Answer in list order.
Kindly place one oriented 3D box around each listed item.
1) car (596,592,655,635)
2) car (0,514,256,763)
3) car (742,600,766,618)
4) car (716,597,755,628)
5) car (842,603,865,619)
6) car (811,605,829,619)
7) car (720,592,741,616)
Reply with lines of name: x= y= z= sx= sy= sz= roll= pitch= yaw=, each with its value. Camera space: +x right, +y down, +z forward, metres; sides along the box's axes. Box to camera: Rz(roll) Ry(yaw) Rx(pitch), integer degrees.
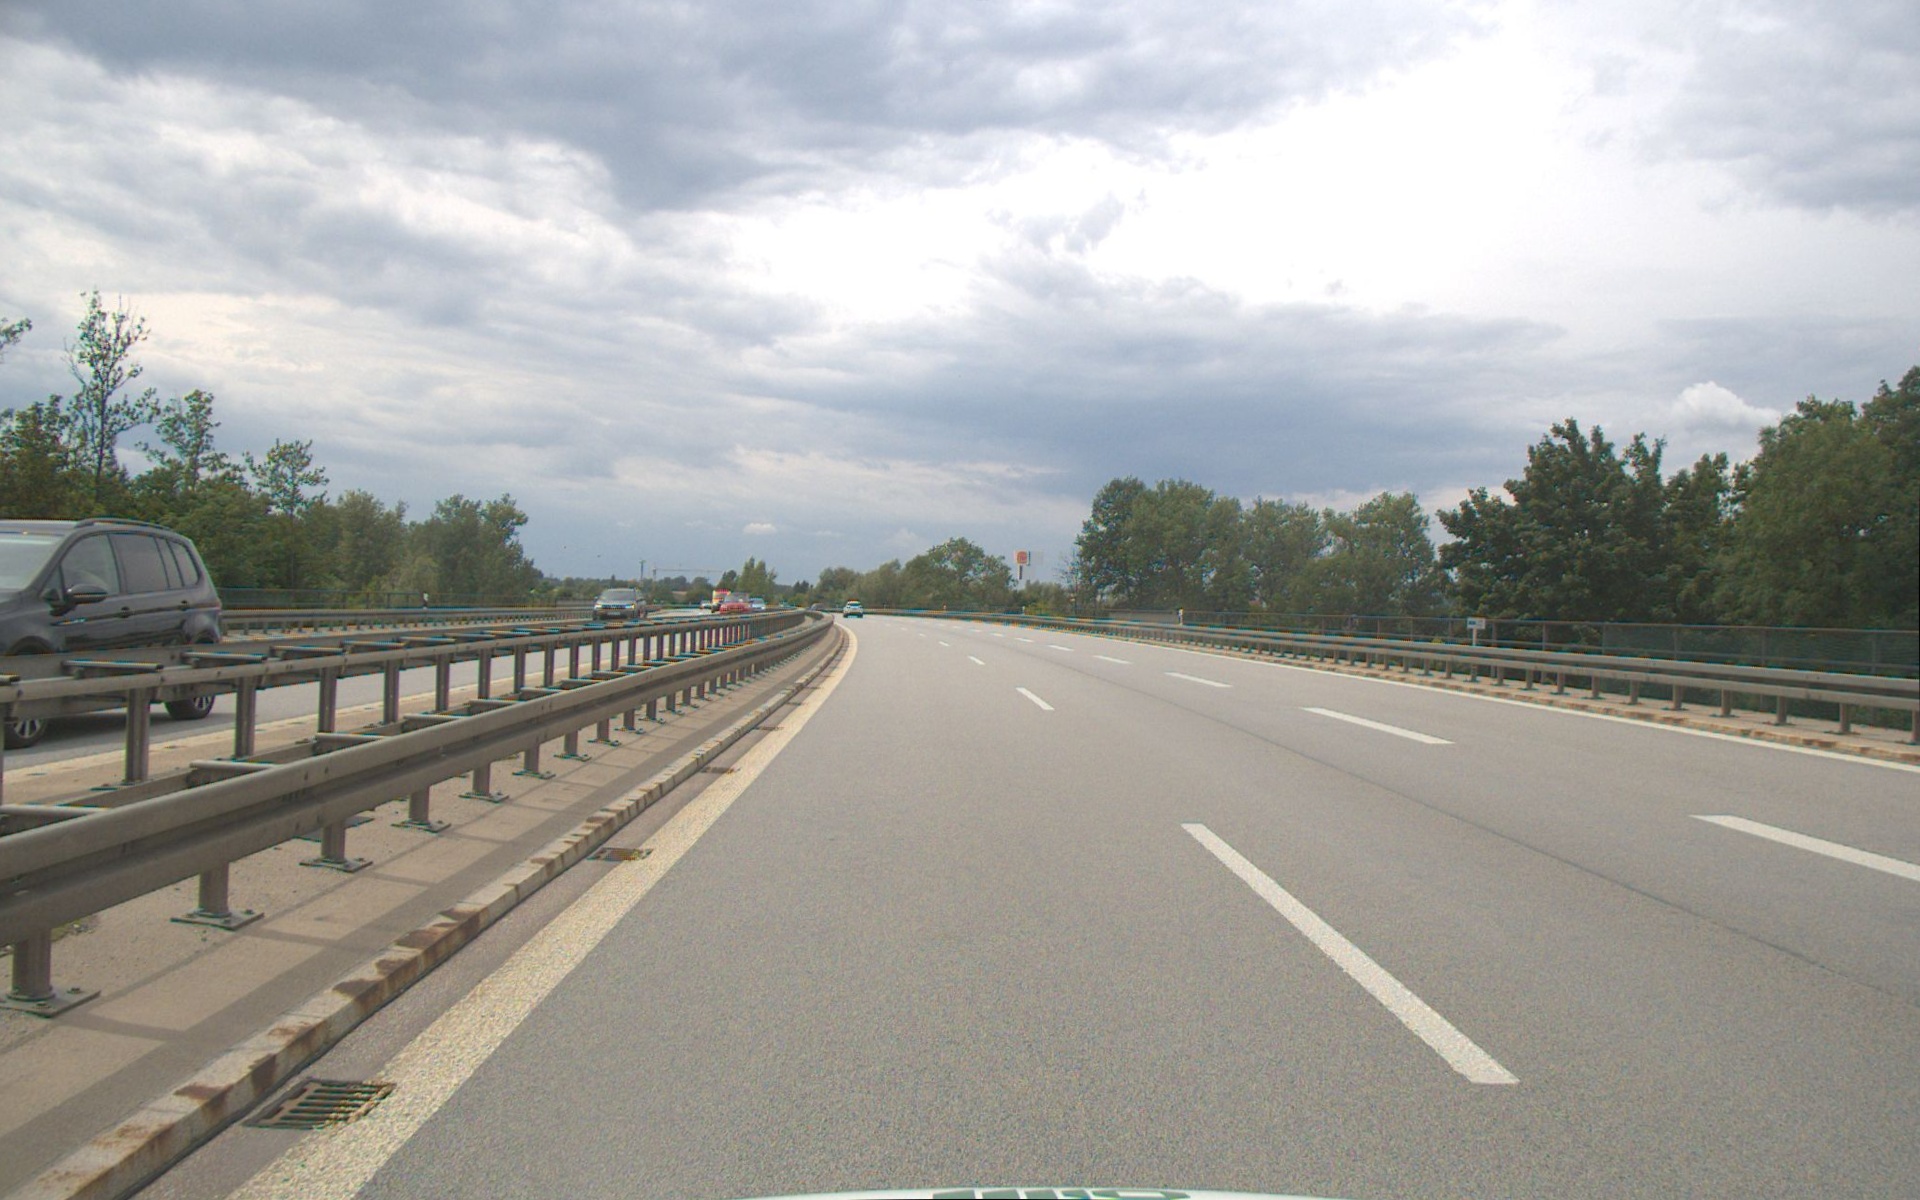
car: x=-13.504 y=0.526 z=66.942 sx=1.676 sy=1.669 sz=4.565 roll=1 pitch=0 yaw=-4
car: x=-7.093 y=0.240 z=12.702 sx=1.610 sy=1.633 sz=4.000 roll=1 pitch=0 yaw=0
car: x=-18.414 y=0.831 z=148.068 sx=1.695 sy=1.430 sz=4.246 roll=6 pitch=-1 yaw=-3
car: x=-12.528 y=0.701 z=92.592 sx=1.777 sy=1.669 sz=4.565 roll=1 pitch=0 yaw=-4
car: x=-11.324 y=1.138 z=175.888 sx=1.868 sy=1.669 sz=4.383 roll=1 pitch=-1 yaw=-11
car: x=-18.603 y=1.590 z=219.644 sx=1.858 sy=1.668 sz=4.610 roll=1 pitch=0 yaw=-11
car: x=-23.566 y=0.408 z=170.052 sx=1.955 sy=2.333 sz=6.389 roll=1 pitch=0 yaw=-6
